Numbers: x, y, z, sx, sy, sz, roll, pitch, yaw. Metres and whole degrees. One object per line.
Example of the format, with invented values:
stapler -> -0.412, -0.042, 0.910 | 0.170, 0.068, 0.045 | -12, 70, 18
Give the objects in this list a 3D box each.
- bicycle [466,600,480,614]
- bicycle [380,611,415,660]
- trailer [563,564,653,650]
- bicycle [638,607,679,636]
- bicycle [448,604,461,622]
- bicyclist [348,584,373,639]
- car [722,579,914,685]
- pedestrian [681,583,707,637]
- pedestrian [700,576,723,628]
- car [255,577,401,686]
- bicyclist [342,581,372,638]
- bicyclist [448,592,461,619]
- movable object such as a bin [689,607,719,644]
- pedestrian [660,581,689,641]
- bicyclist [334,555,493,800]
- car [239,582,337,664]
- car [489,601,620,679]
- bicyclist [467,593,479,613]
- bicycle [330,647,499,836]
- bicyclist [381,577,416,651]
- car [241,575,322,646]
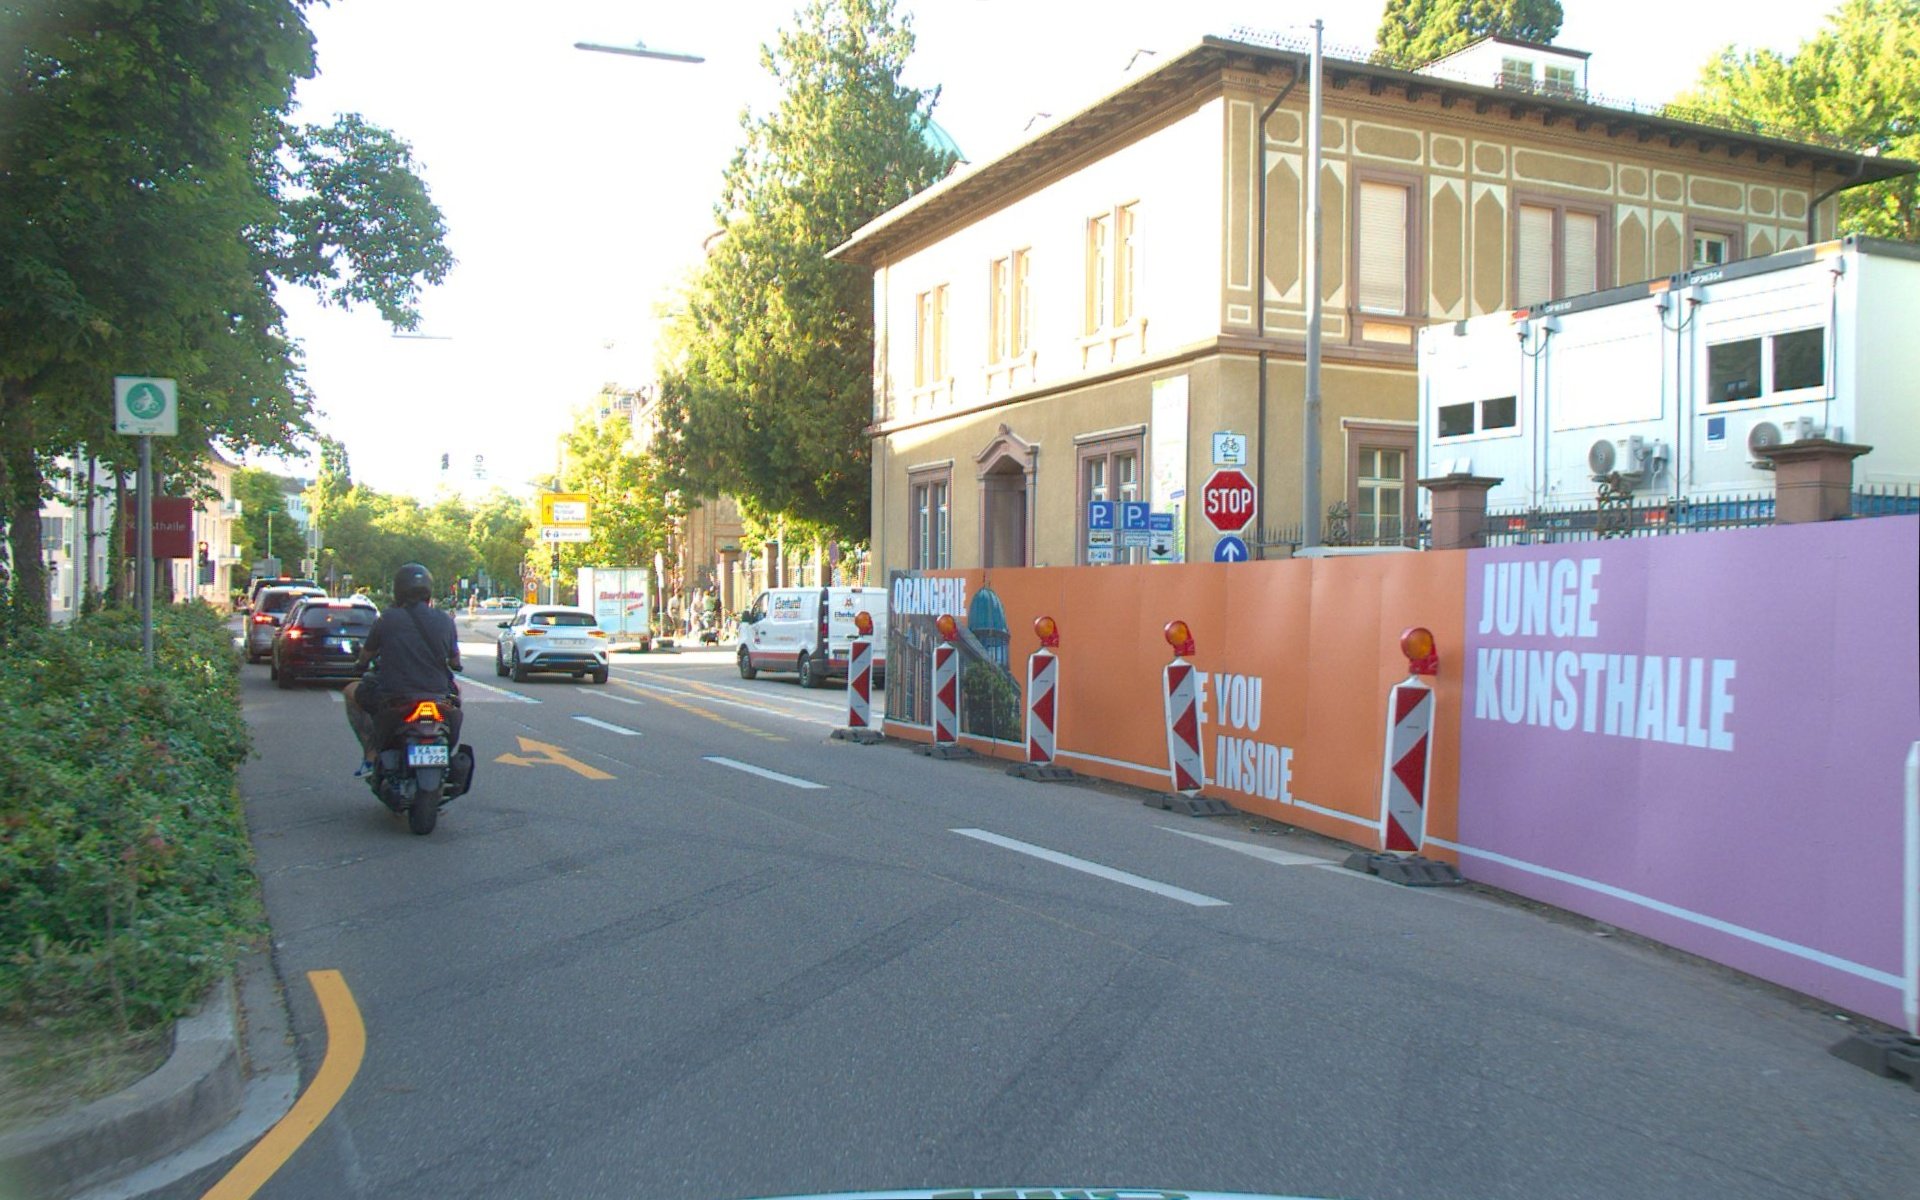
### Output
bicycle -> -38.099, 0.545, 129.457 | 0.739, 1.044, 1.865 | 2, -1, -8
bicycle -> -13.062, 0.822, 38.414 | 0.659, 1.091, 1.741 | 2, -1, -22
trailer -> -11.131, 0.183, 52.133 | 2.050, 2.572, 4.463 | -1, 1, -21
bicycle -> -11.142, 0.802, 61.113 | 1.446, 1.057, 0.476 | 0, 0, -23
bicycle -> -30.743, 0.804, 100.554 | 0.633, 1.042, 2.201 | 3, -1, -18
bicyclist -> -18.106, 0.342, 49.959 | 0.660, 1.636, 0.820 | 1, 0, -21
car -> -3.047, 0.631, 34.235 | 1.991, 1.979, 5.432 | 2, -1, -27
pedestrian -> -8.673, 0.319, 53.943 | 0.673, 1.731, 0.688 | 0, 0, -24
pedestrian -> -8.645, 0.065, 57.475 | 0.630, 1.799, 0.733 | 1, 0, -20
car -> -10.858, 0.502, 28.217 | 1.968, 1.686, 4.698 | 1, 0, -25
bicyclist -> -17.427, 0.273, 47.795 | 0.791, 1.636, 0.820 | 1, 0, -21
bicyclist -> -30.727, 0.345, 100.520 | 0.626, 1.642, 1.277 | 2, -1, -19
movable object such as a bin -> -8.228, 0.819, 53.138 | 0.702, 1.137, 1.042 | -1, 1, -25
pedestrian -> -9.208, 0.340, 53.363 | 0.706, 1.927, 0.882 | 0, 0, -25
bicyclist -> -3.716, 0.509, 11.195 | 0.856, 1.550, 1.222 | 3, -1, -23
car -> -15.583, 0.502, 38.356 | 1.964, 1.780, 4.714 | 1, 0, -23
car -> -8.221, 0.764, 33.310 | 1.966, 1.478, 3.972 | 1, 0, -23
bicyclist -> -38.086, 0.242, 129.477 | 0.733, 1.564, 0.967 | 2, -1, -9
bicycle -> -3.738, 0.894, 11.192 | 0.858, 1.061, 2.436 | 3, -1, -23
bicyclist -> -13.016, 0.319, 38.313 | 0.663, 1.681, 0.881 | 2, -1, -23
car -> -19.692, 0.322, 47.917 | 2.040, 1.949, 4.996 | 1, -1, -23
